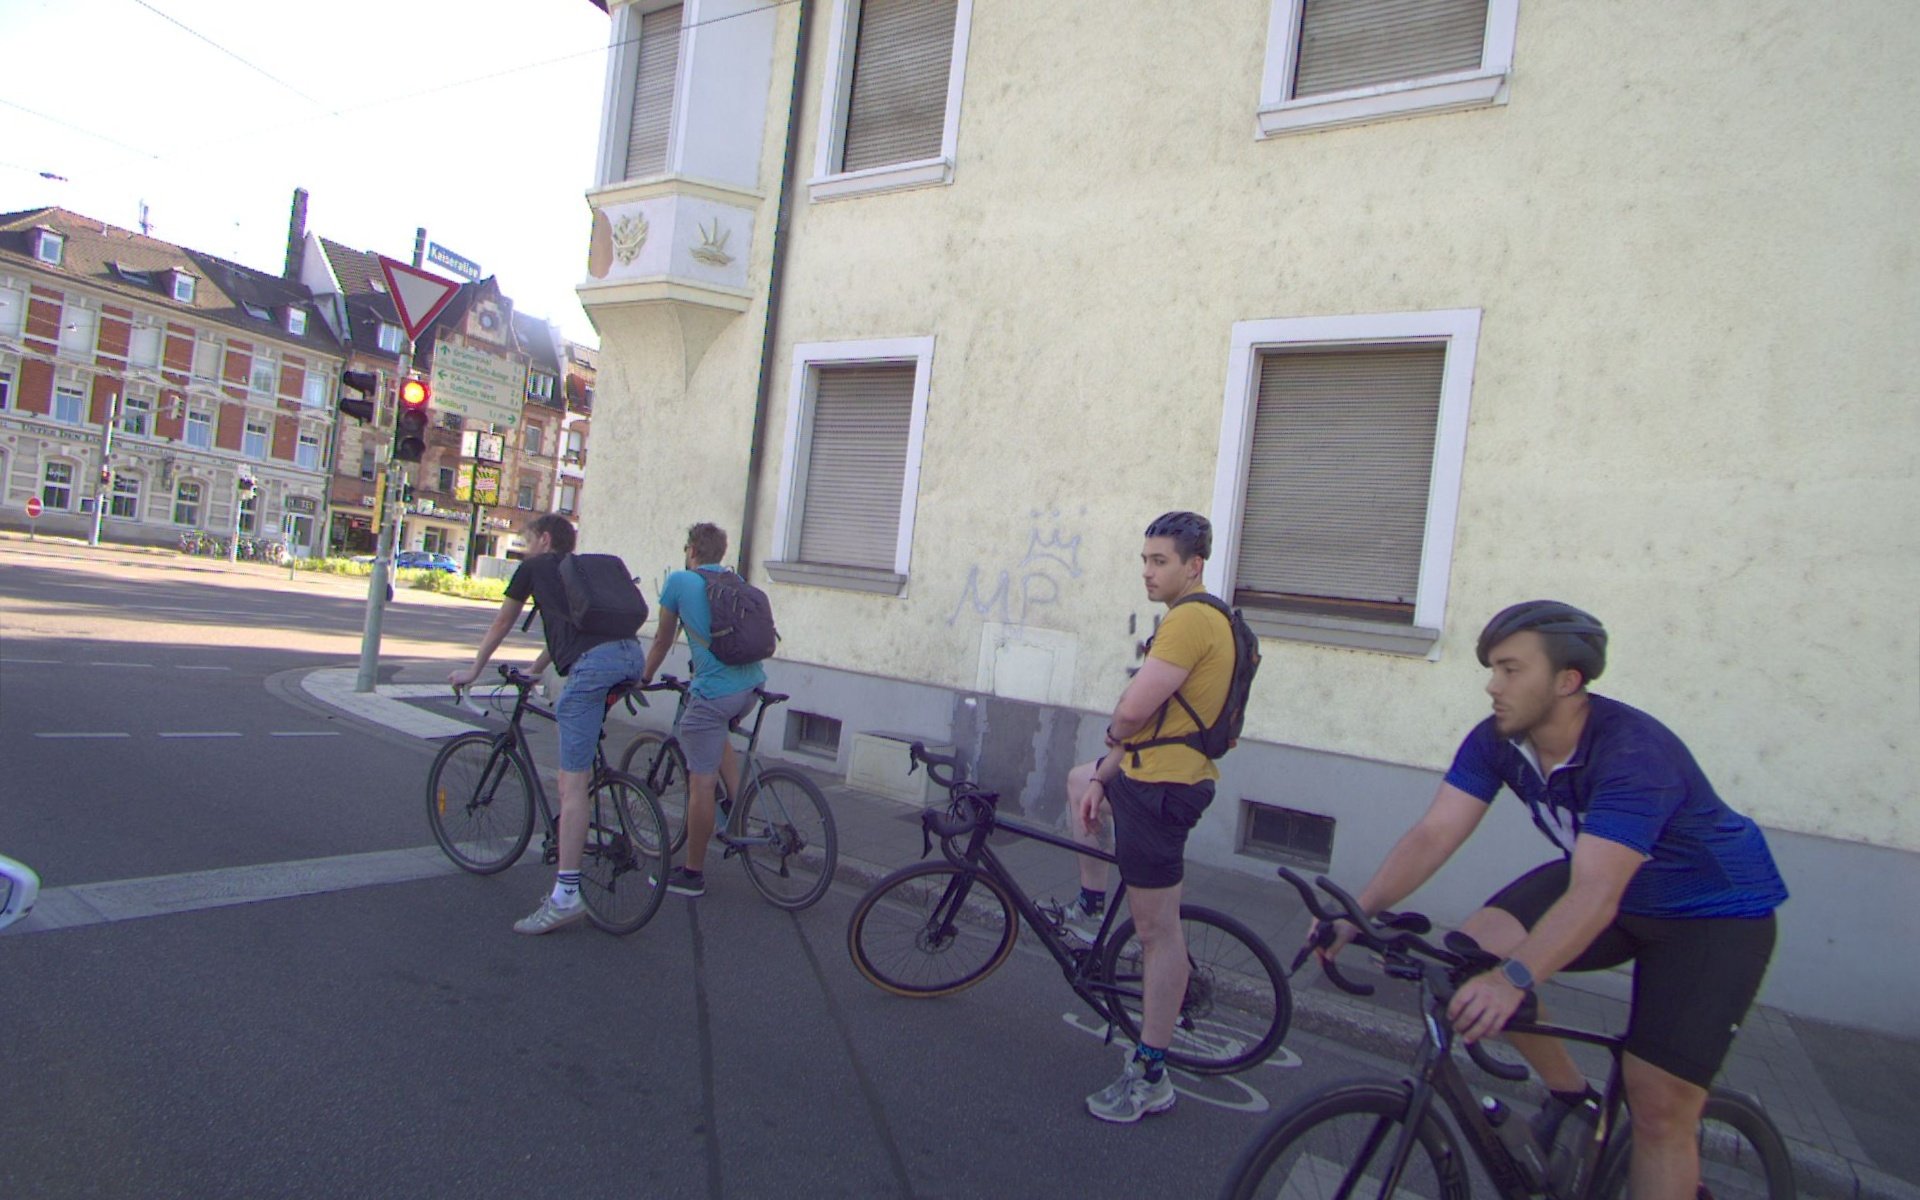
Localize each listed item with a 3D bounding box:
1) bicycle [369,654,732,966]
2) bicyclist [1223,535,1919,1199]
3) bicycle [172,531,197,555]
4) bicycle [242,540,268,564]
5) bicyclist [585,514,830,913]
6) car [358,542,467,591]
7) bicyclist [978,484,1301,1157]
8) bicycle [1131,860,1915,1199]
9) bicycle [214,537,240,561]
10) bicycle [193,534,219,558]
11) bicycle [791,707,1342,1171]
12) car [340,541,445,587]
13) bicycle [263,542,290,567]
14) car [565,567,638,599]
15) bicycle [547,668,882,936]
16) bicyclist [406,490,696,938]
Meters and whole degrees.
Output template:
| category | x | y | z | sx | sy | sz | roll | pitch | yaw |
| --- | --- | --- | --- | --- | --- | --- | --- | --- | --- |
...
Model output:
| category | x | y | z | sx | sy | sz | roll | pitch | yaw |
| --- | --- | --- | --- | --- | --- | --- | --- | --- | --- |
| bicycle | -1.897 | 0.858 | 4.552 | 1.753 | 1.003 | 0.482 | 6 | -1 | 32 |
| bicyclist | 1.265 | 0.759 | 2.192 | 0.719 | 1.718 | 1.015 | 4 | 3 | -21 |
| bicycle | -35.367 | -2.594 | 45.868 | 0.762 | 0.974 | 2.186 | 8 | -2 | -39 |
| bicycle | -33.614 | -2.290 | 47.953 | 0.762 | 1.019 | 2.196 | 8 | -2 | -39 |
| bicyclist | -1.325 | 0.543 | 5.261 | 0.960 | 1.868 | 0.504 | 6 | -1 | 32 |
| car | -25.445 | -1.534 | 46.884 | 1.775 | 1.641 | 3.994 | 6 | -2 | 33 |
| bicyclist | 0.664 | 0.681 | 3.541 | 0.763 | 1.990 | 0.783 | 7 | 0 | 18 |
| bicycle | 1.226 | 1.209 | 2.220 | 1.602 | 1.090 | 0.552 | 5 | 3 | -22 |
| bicycle | -34.319 | -2.406 | 47.076 | 0.762 | 0.995 | 2.186 | 8 | -2 | -39 |
| bicycle | -34.765 | -2.493 | 46.392 | 0.762 | 0.979 | 2.186 | 8 | -2 | -39 |
| bicycle | 0.395 | 1.092 | 3.676 | 1.709 | 1.119 | 0.783 | 7 | -1 | 18 |
| car | -27.648 | -1.736 | 49.134 | 1.775 | 1.641 | 3.994 | 6 | -2 | 33 |
| bicycle | -33.016 | -2.206 | 48.605 | 0.789 | 1.027 | 2.186 | 8 | -2 | -39 |
| car | -23.170 | -1.070 | 65.122 | 1.842 | 1.454 | 3.985 | 6 | -2 | 35 |
| bicycle | -1.313 | 0.968 | 5.220 | 1.753 | 0.995 | 0.504 | 6 | -1 | 32 |
| bicyclist | -1.848 | 0.460 | 4.556 | 0.920 | 1.787 | 0.590 | 6 | -1 | 32 |
